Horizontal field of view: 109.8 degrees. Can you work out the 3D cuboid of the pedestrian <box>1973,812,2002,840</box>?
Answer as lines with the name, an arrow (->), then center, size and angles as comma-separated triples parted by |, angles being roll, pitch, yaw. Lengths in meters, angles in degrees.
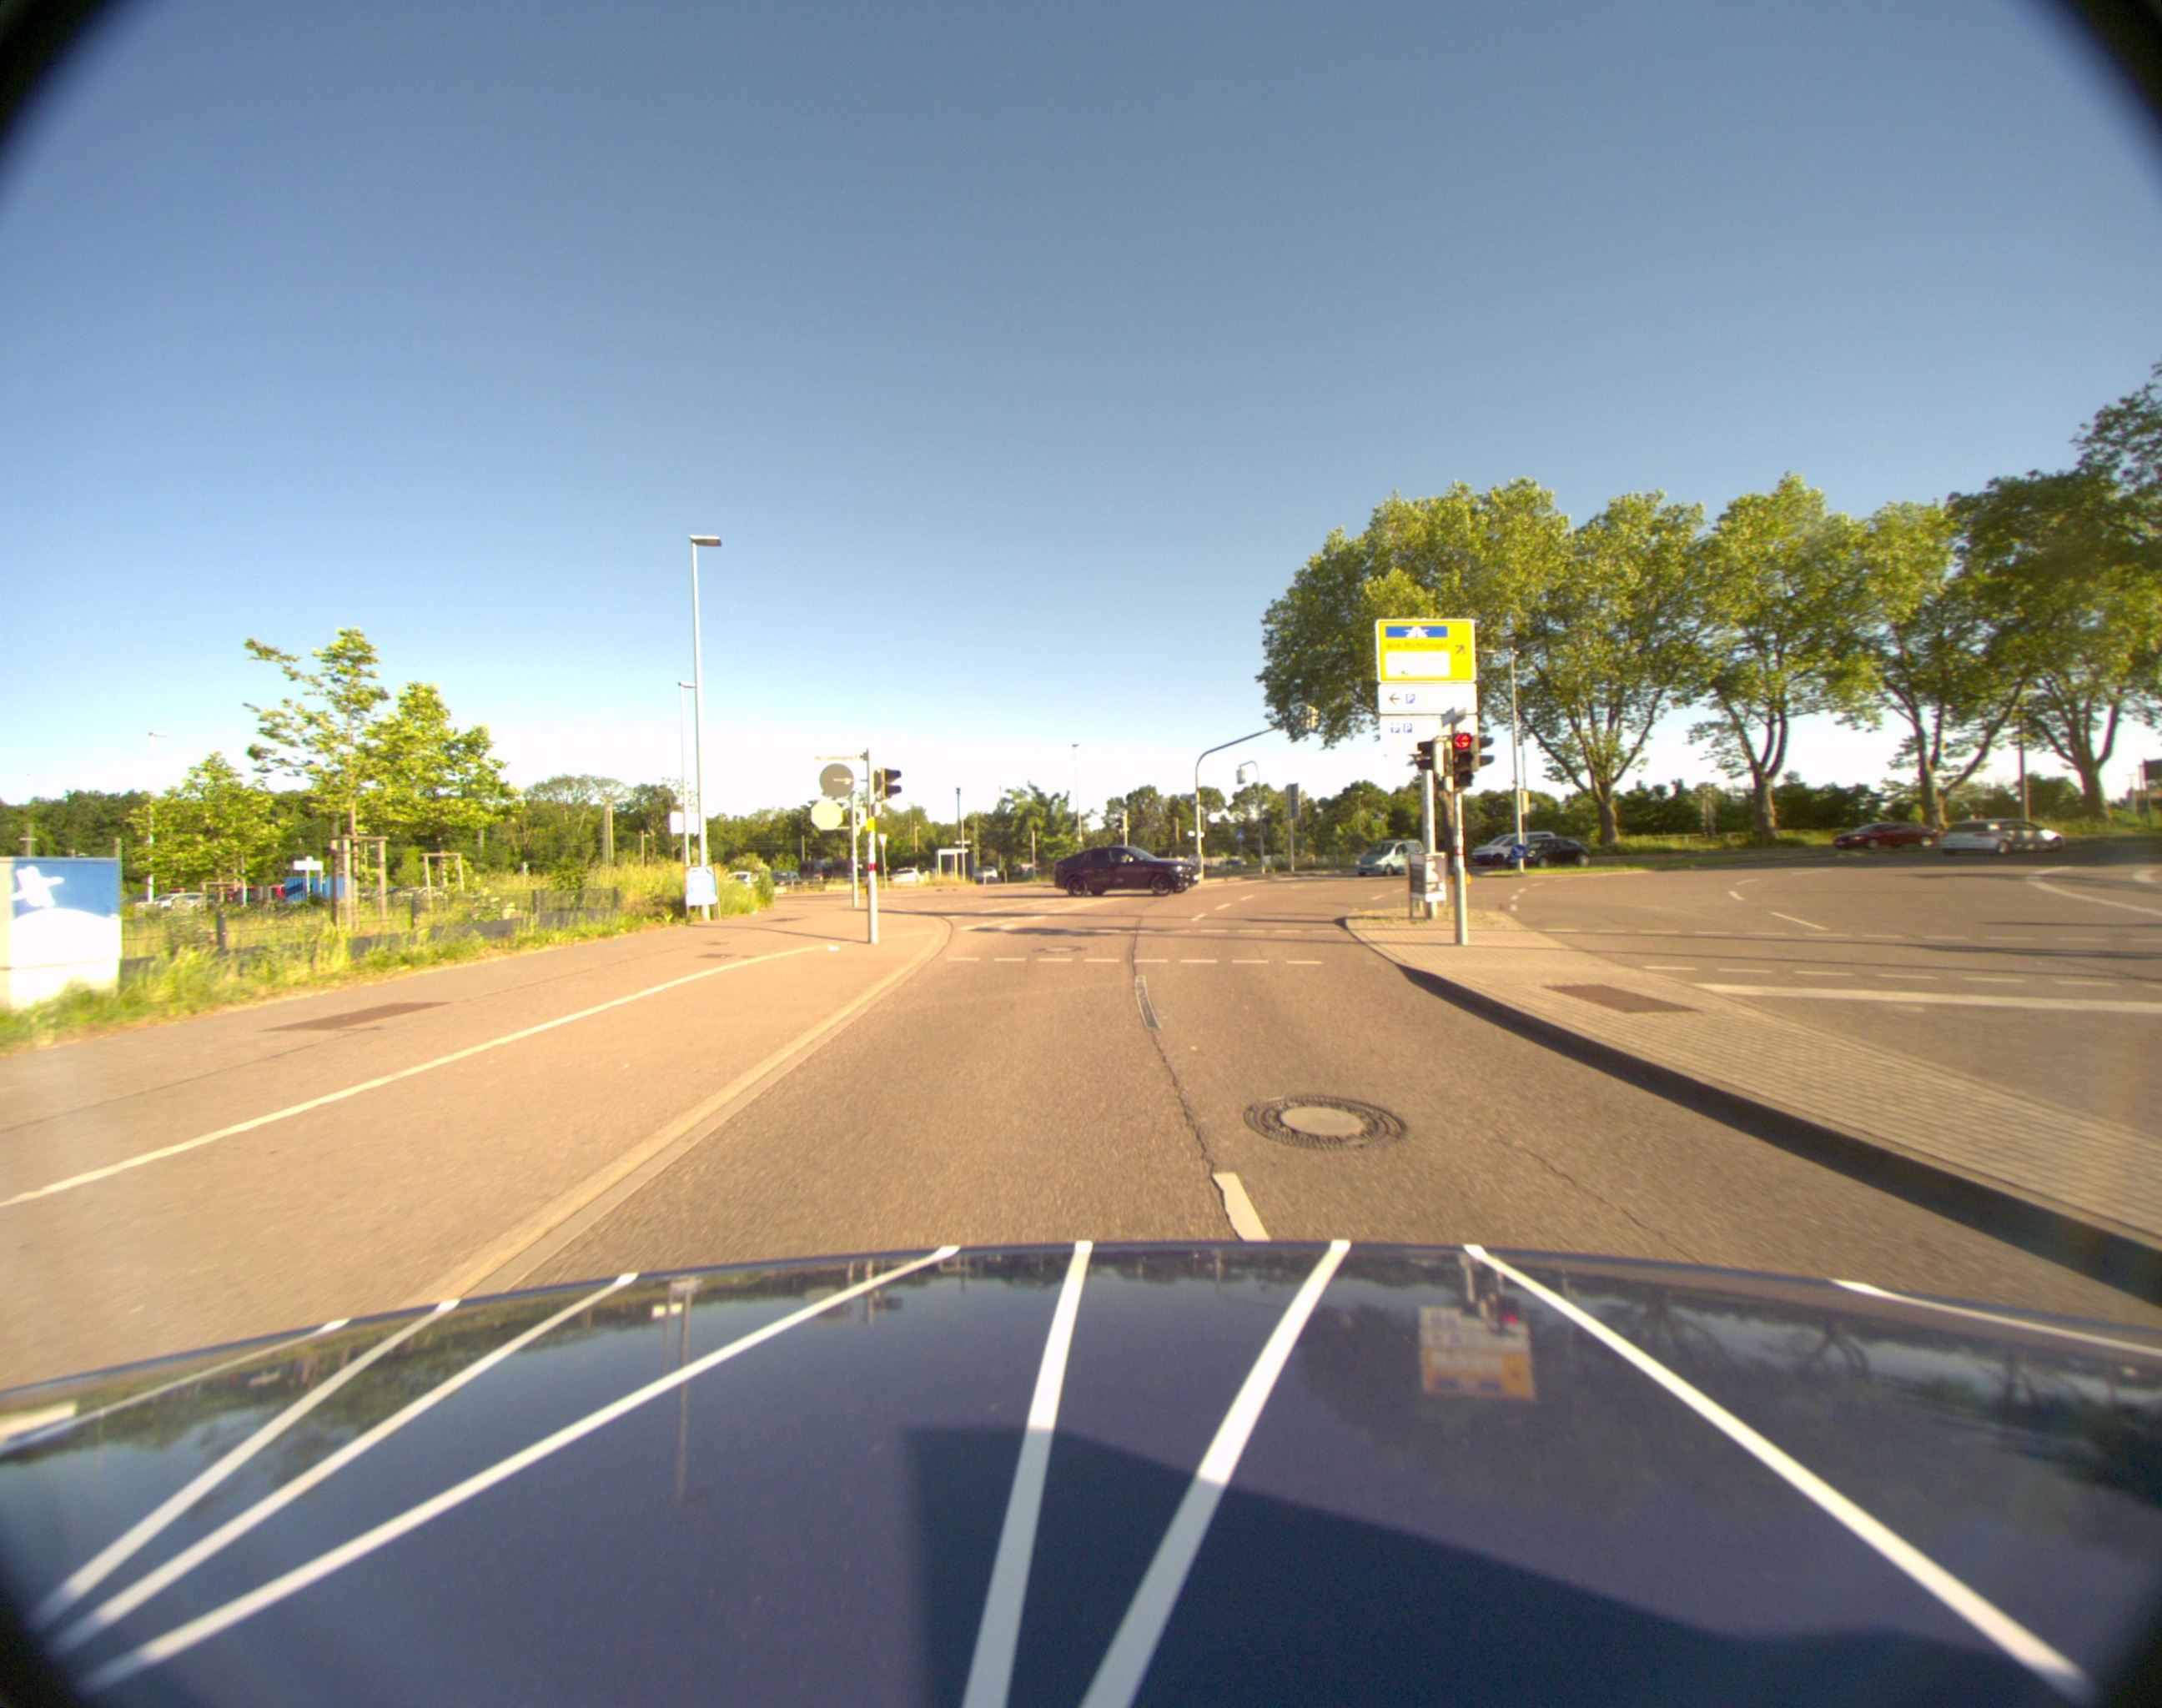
pedestrian -> 54.414, -1.677, 45.615 | 0.803, 1.582, 0.731 | -2, 0, 3

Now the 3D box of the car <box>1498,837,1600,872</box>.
car -> 21.369, 0.012, 34.720 | 3.940, 1.419, 1.906 | -2, 0, -19

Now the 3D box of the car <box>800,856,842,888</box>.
car -> -21.425, 1.477, 62.762 | 2.128, 2.452, 4.480 | -2, 0, -5

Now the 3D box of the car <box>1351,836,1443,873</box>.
car -> 14.989, 0.010, 35.987 | 4.127, 1.626, 1.916 | -2, 0, -31

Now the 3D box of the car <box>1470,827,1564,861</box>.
car -> 24.974, -0.541, 43.666 | 4.262, 1.733, 1.860 | -2, -1, 3

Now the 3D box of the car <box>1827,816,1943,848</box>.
car -> 45.128, -1.232, 42.727 | 4.320, 1.589, 1.860 | -2, 0, 5

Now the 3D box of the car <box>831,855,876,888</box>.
car -> -18.851, 1.438, 63.337 | 2.401, 2.502, 5.510 | -2, -1, -5

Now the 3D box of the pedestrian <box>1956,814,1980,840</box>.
pedestrian -> 54.272, -1.652, 46.486 | 0.631, 1.577, 0.665 | -2, 0, 3

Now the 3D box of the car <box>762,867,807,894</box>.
car -> -20.461, 1.800, 52.595 | 1.872, 1.645, 4.142 | -2, 0, -7

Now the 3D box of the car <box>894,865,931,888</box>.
car -> -11.852, 1.540, 53.700 | 1.890, 1.502, 4.272 | -2, 0, -3

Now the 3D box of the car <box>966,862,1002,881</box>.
car -> -9.181, 1.649, 71.666 | 2.180, 1.720, 4.484 | -2, 0, -23

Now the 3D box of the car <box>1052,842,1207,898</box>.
car -> 1.634, 0.537, 25.667 | 4.739, 1.704, 2.052 | -2, 0, 25

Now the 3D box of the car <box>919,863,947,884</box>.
car -> -13.519, 1.739, 69.662 | 1.986, 1.798, 4.201 | -2, 0, -4

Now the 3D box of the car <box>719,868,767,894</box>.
car -> -23.159, 1.834, 52.281 | 1.886, 1.601, 4.055 | -2, -1, -7

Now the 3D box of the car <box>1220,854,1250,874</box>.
car -> 15.286, 1.010, 75.663 | 2.198, 1.827, 5.027 | -2, 0, 4

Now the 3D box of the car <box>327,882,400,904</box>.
car -> -58.076, 3.166, 61.606 | 1.869, 1.457, 4.444 | -2, 1, -5

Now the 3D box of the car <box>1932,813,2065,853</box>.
car -> 37.434, -0.856, 31.045 | 3.938, 1.419, 1.974 | -3, 0, -15
